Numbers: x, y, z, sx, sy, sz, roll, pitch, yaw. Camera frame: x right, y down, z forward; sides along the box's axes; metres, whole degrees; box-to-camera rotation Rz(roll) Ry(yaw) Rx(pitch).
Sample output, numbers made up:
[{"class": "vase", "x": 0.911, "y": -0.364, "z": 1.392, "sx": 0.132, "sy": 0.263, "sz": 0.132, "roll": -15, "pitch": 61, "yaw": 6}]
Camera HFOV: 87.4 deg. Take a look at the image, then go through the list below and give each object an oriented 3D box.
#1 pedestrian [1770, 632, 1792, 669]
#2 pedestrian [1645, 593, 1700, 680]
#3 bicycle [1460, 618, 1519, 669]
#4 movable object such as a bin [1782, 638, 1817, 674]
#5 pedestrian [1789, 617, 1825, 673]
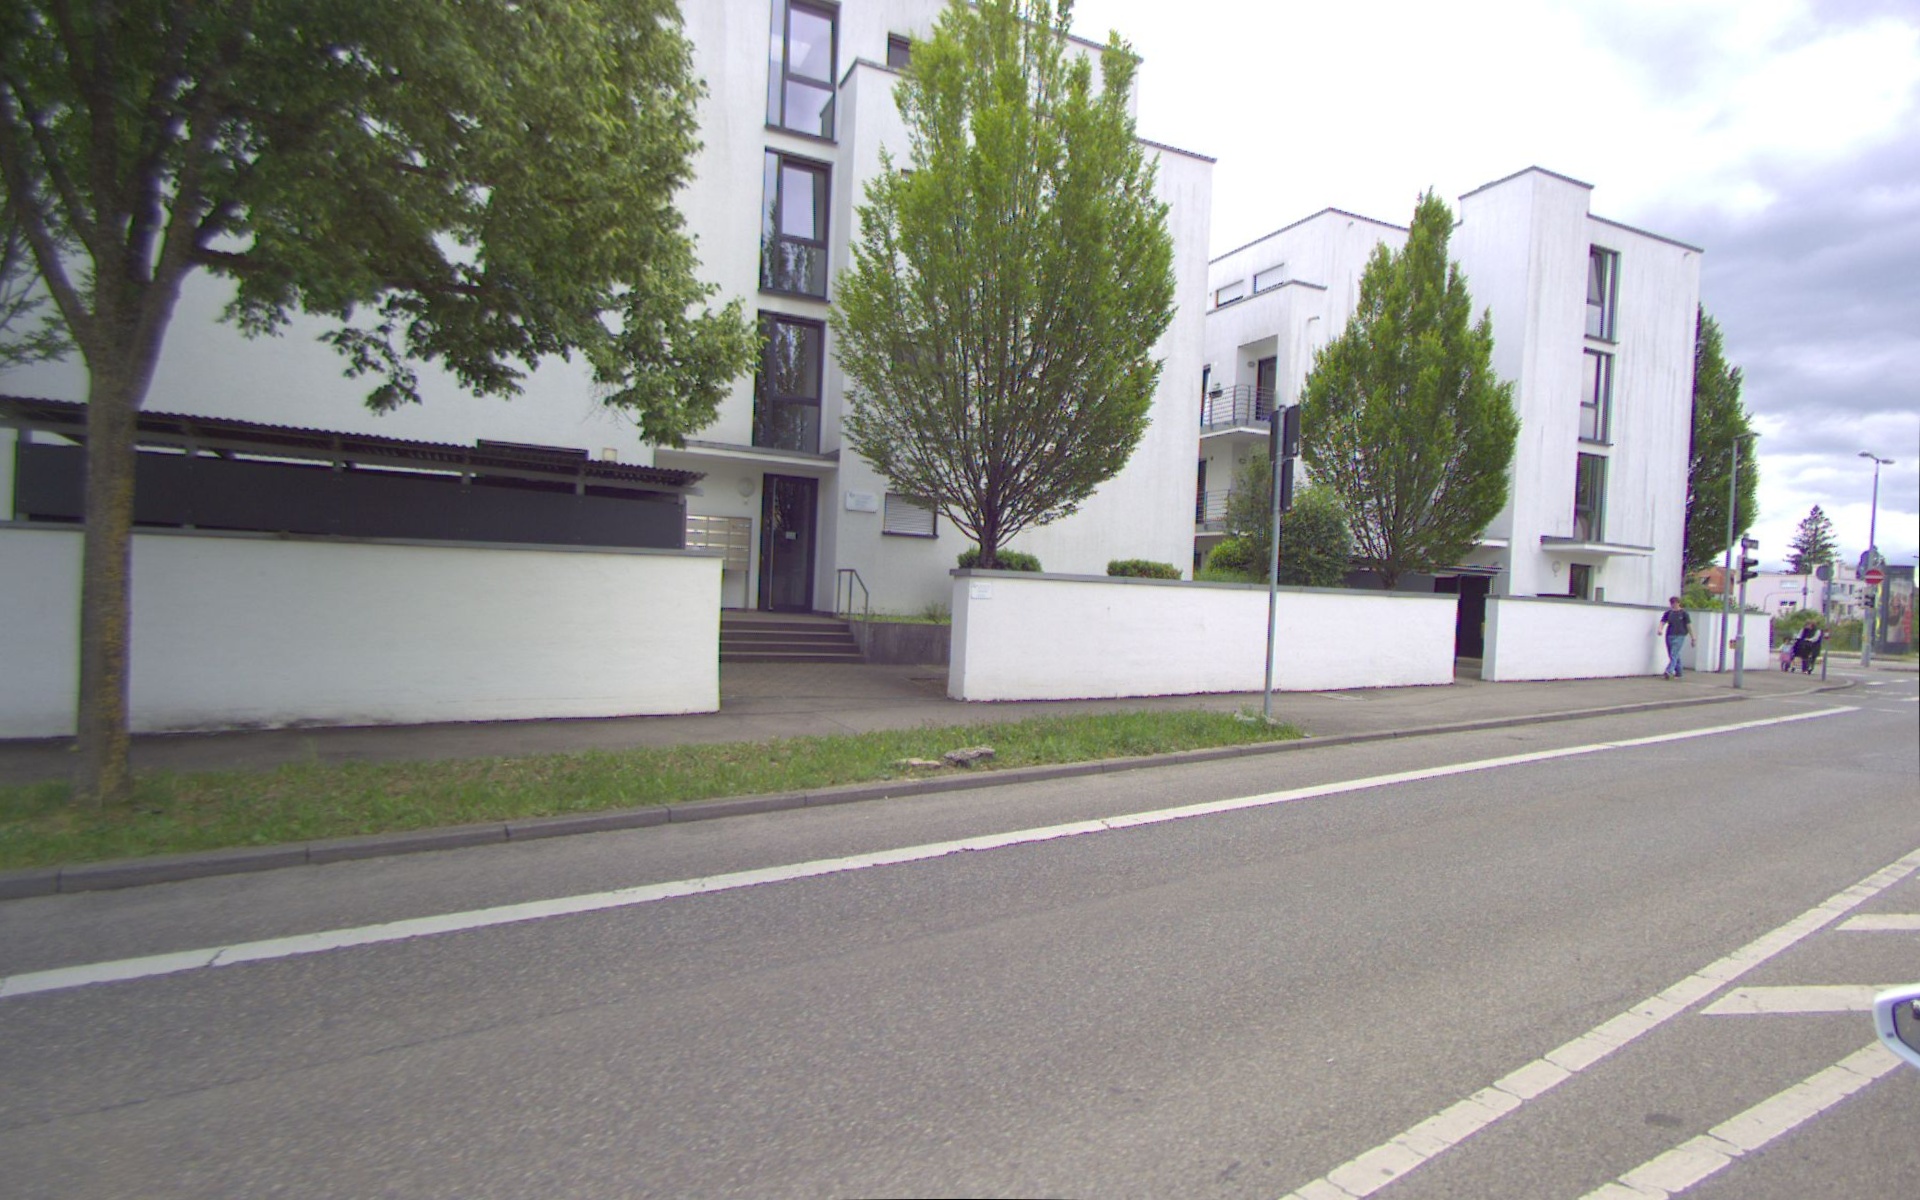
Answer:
[{"class": "pedestrian", "x": 24.509, "y": 1.503, "z": 29.999, "sx": 0.440, "sy": 1.076, "sz": 0.323, "roll": 1, "pitch": 4, "yaw": -37}, {"class": "pedestrian", "x": 16.672, "y": 0.854, "z": 23.509, "sx": 0.863, "sy": 1.974, "sz": 0.644, "roll": 2, "pitch": 3, "yaw": -35}, {"class": "bicycle", "x": 12.706, "y": 1.040, "z": 24.086, "sx": 1.637, "sy": 1.179, "sz": 0.505, "roll": 2, "pitch": -1, "yaw": -34}, {"class": "movable object such as a bin", "x": 24.267, "y": 1.601, "z": 29.031, "sx": 0.977, "sy": 0.973, "sz": 0.493, "roll": 2, "pitch": 5, "yaw": -38}, {"class": "pedestrian", "x": 24.915, "y": 1.324, "z": 29.545, "sx": 0.725, "sy": 1.563, "sz": 0.527, "roll": 1, "pitch": 5, "yaw": -38}]
